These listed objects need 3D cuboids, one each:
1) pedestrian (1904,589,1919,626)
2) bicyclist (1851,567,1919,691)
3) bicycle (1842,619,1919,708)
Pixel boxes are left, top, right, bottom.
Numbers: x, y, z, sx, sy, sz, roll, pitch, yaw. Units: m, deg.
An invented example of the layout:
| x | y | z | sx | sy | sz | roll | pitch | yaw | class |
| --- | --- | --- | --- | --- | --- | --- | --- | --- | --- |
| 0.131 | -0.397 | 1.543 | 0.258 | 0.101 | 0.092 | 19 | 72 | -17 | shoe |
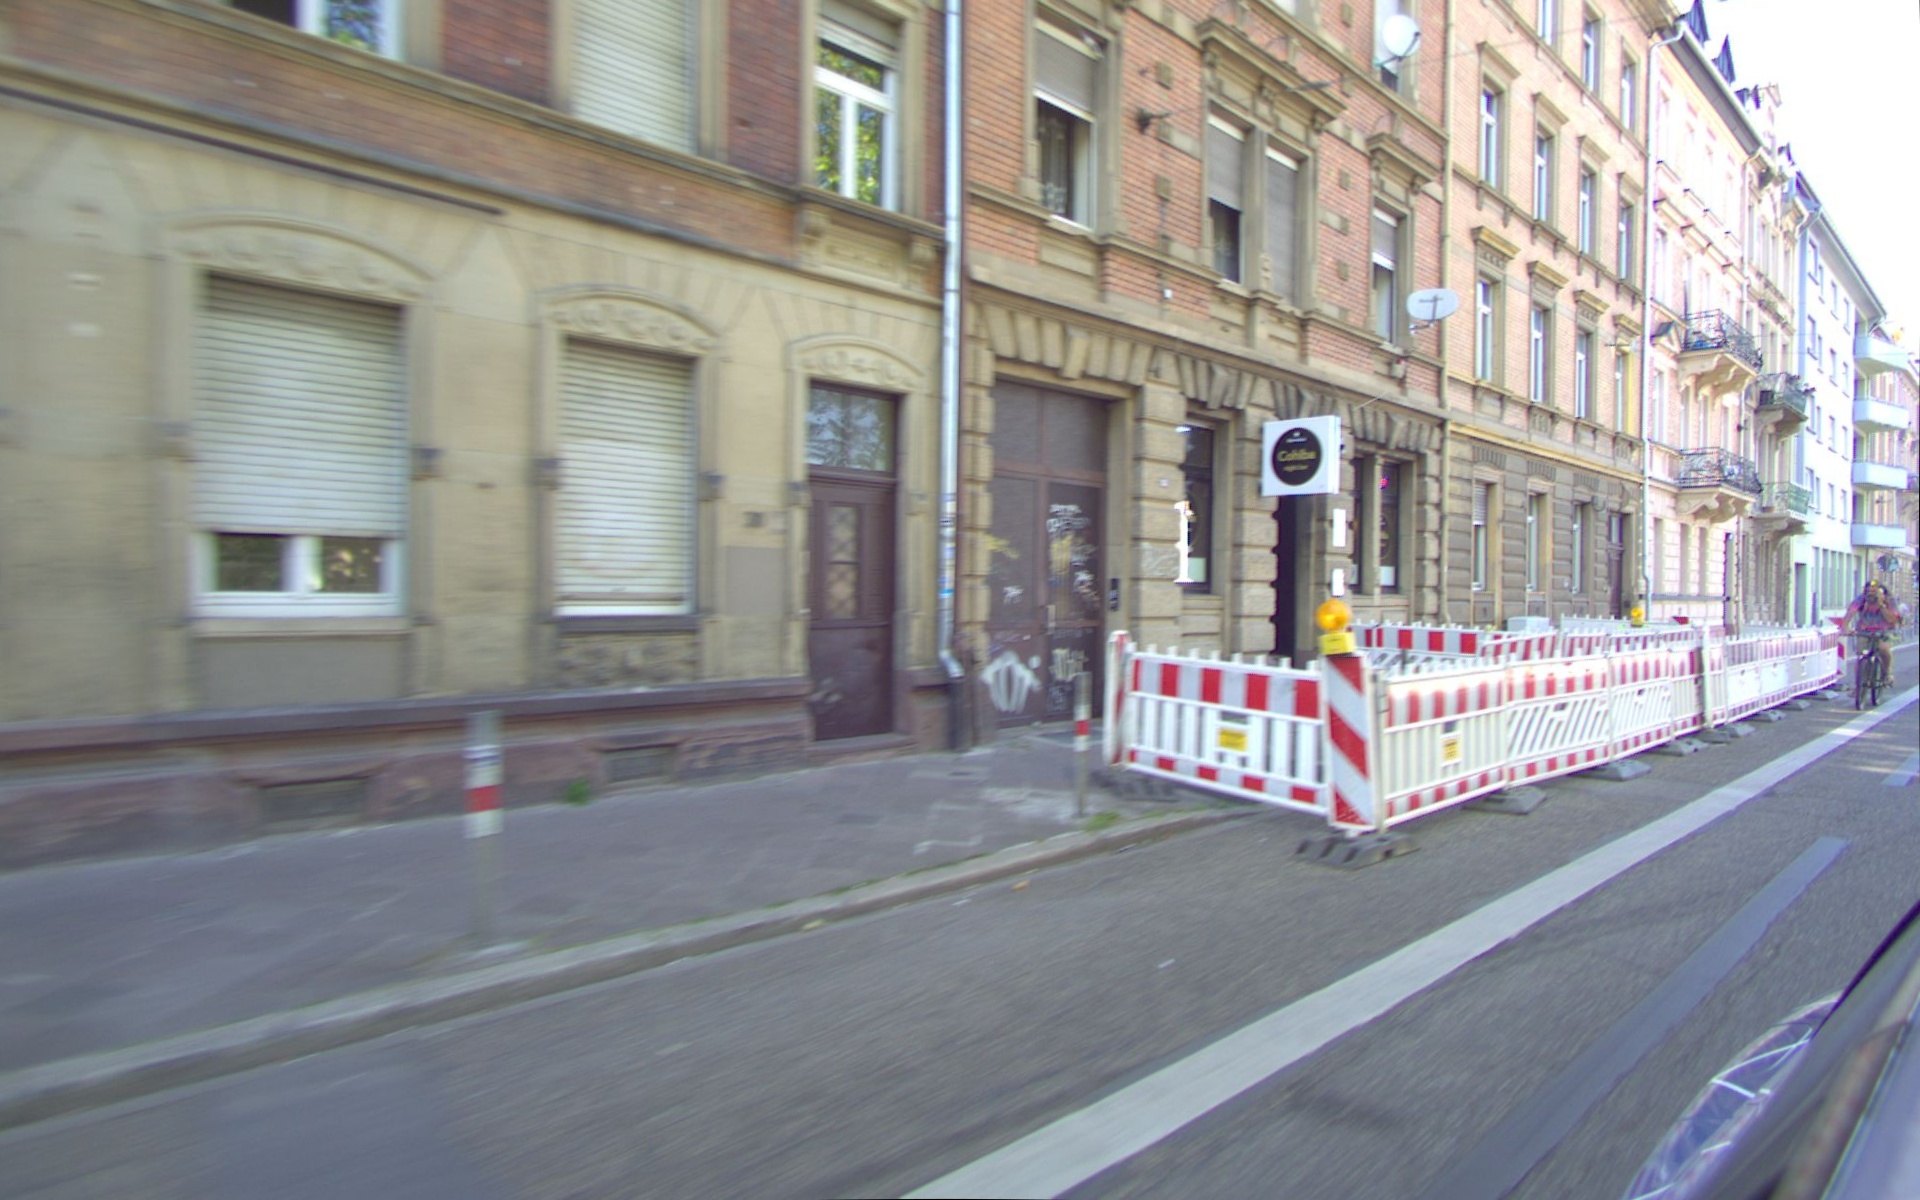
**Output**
| x | y | z | sx | sy | sz | roll | pitch | yaw | class |
| --- | --- | --- | --- | --- | --- | --- | --- | --- | --- |
| 45.262 | 0.345 | 48.060 | 0.465 | 1.721 | 0.554 | 0 | 3 | -41 | pedestrian |
| 13.442 | 0.404 | 14.660 | 1.025 | 1.718 | 0.668 | 0 | -1 | -42 | bicyclist |
| 13.393 | 0.861 | 14.588 | 2.660 | 1.129 | 0.682 | 0 | -1 | -42 | bicycle |
